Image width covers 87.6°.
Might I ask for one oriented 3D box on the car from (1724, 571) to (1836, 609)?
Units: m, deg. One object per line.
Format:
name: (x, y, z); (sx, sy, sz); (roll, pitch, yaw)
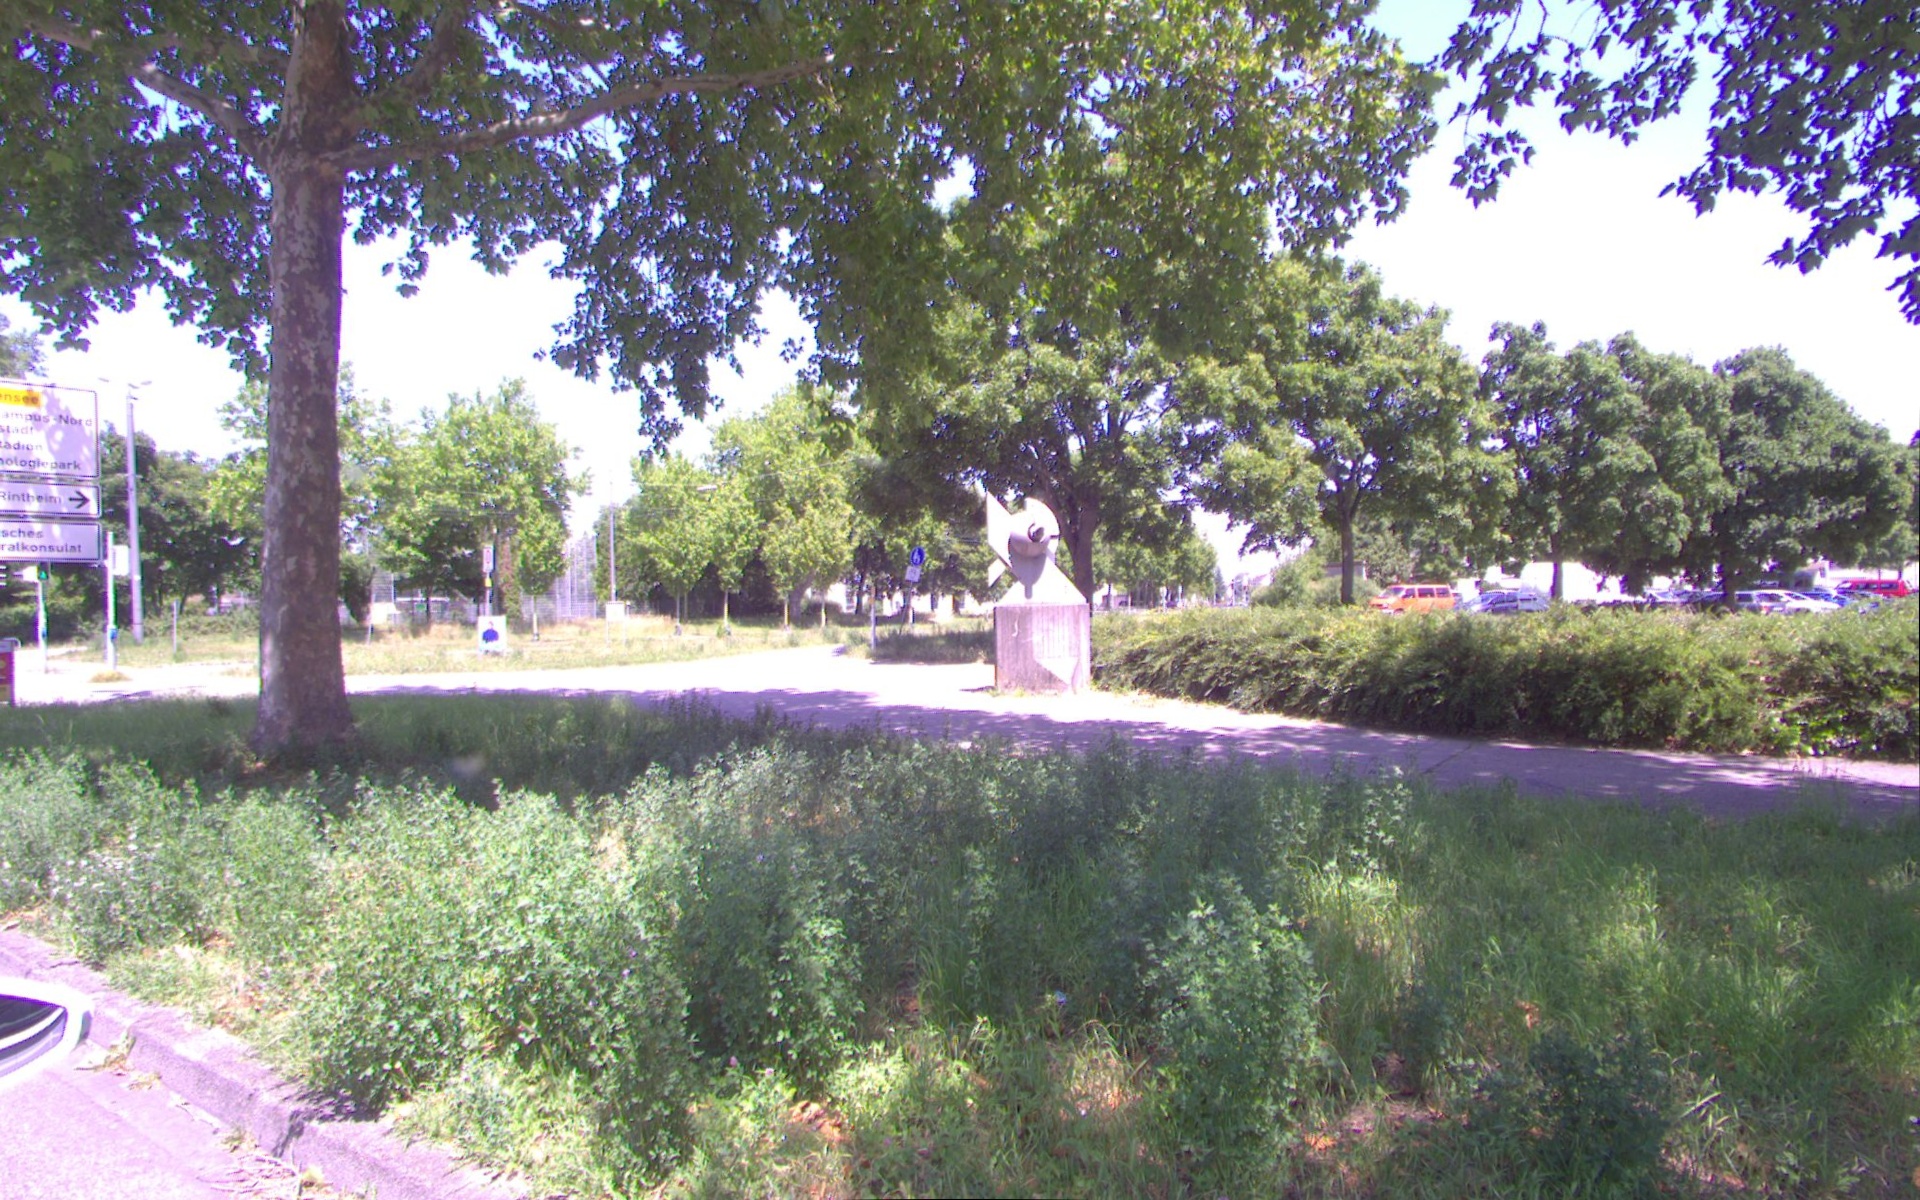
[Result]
car: (46.414, -0.548, 56.794); (2.209, 2.040, 4.409); (-1, 0, -22)

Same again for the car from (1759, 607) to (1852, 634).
car: (32.402, 0.777, 38.412); (0.938, 1.000, 2.590); (-1, 0, -25)

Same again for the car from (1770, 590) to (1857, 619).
car: (35.270, 0.194, 41.410); (0.938, 1.141, 2.590); (-1, 0, -25)

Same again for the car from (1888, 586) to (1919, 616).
car: (44.654, 0.042, 45.408); (1.690, 1.384, 3.414); (-1, 0, -25)

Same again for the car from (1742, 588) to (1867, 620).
car: (34.340, 0.148, 40.825); (1.595, 1.242, 3.559); (0, 0, -25)

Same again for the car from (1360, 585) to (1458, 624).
car: (23.849, 0.226, 53.230); (4.582, 2.029, 2.069); (0, 0, -19)

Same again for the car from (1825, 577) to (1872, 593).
car: (92.682, -1.549, 104.494); (3.309, 1.639, 1.439); (-1, 0, 19)

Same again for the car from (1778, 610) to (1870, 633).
car: (33.553, 0.812, 38.938); (0.938, 0.852, 2.590); (-1, 0, -25)

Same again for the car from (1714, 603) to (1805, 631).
car: (30.730, 0.646, 38.542); (0.938, 1.050, 2.590); (-1, 0, -25)

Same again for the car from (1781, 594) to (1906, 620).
car: (36.720, 0.295, 41.700); (1.655, 1.048, 3.553); (-1, 0, -25)

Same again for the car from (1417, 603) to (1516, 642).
car: (23.914, 1.053, 47.318); (4.000, 1.741, 1.952); (-1, 0, -18)

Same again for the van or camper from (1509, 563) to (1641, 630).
van or camper: (27.009, -0.162, 43.989); (5.039, 2.787, 2.199); (-1, 0, -18)

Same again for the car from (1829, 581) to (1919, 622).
car: (57.172, 0.134, 62.417); (1.936, 2.036, 3.993); (4, -7, -23)

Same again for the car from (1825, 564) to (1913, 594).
car: (103.979, -2.343, 114.586); (3.155, 3.224, 7.143); (-1, 0, -41)

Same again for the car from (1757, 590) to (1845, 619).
car: (34.370, 0.175, 40.983); (0.991, 1.141, 2.590); (-1, 0, -25)
